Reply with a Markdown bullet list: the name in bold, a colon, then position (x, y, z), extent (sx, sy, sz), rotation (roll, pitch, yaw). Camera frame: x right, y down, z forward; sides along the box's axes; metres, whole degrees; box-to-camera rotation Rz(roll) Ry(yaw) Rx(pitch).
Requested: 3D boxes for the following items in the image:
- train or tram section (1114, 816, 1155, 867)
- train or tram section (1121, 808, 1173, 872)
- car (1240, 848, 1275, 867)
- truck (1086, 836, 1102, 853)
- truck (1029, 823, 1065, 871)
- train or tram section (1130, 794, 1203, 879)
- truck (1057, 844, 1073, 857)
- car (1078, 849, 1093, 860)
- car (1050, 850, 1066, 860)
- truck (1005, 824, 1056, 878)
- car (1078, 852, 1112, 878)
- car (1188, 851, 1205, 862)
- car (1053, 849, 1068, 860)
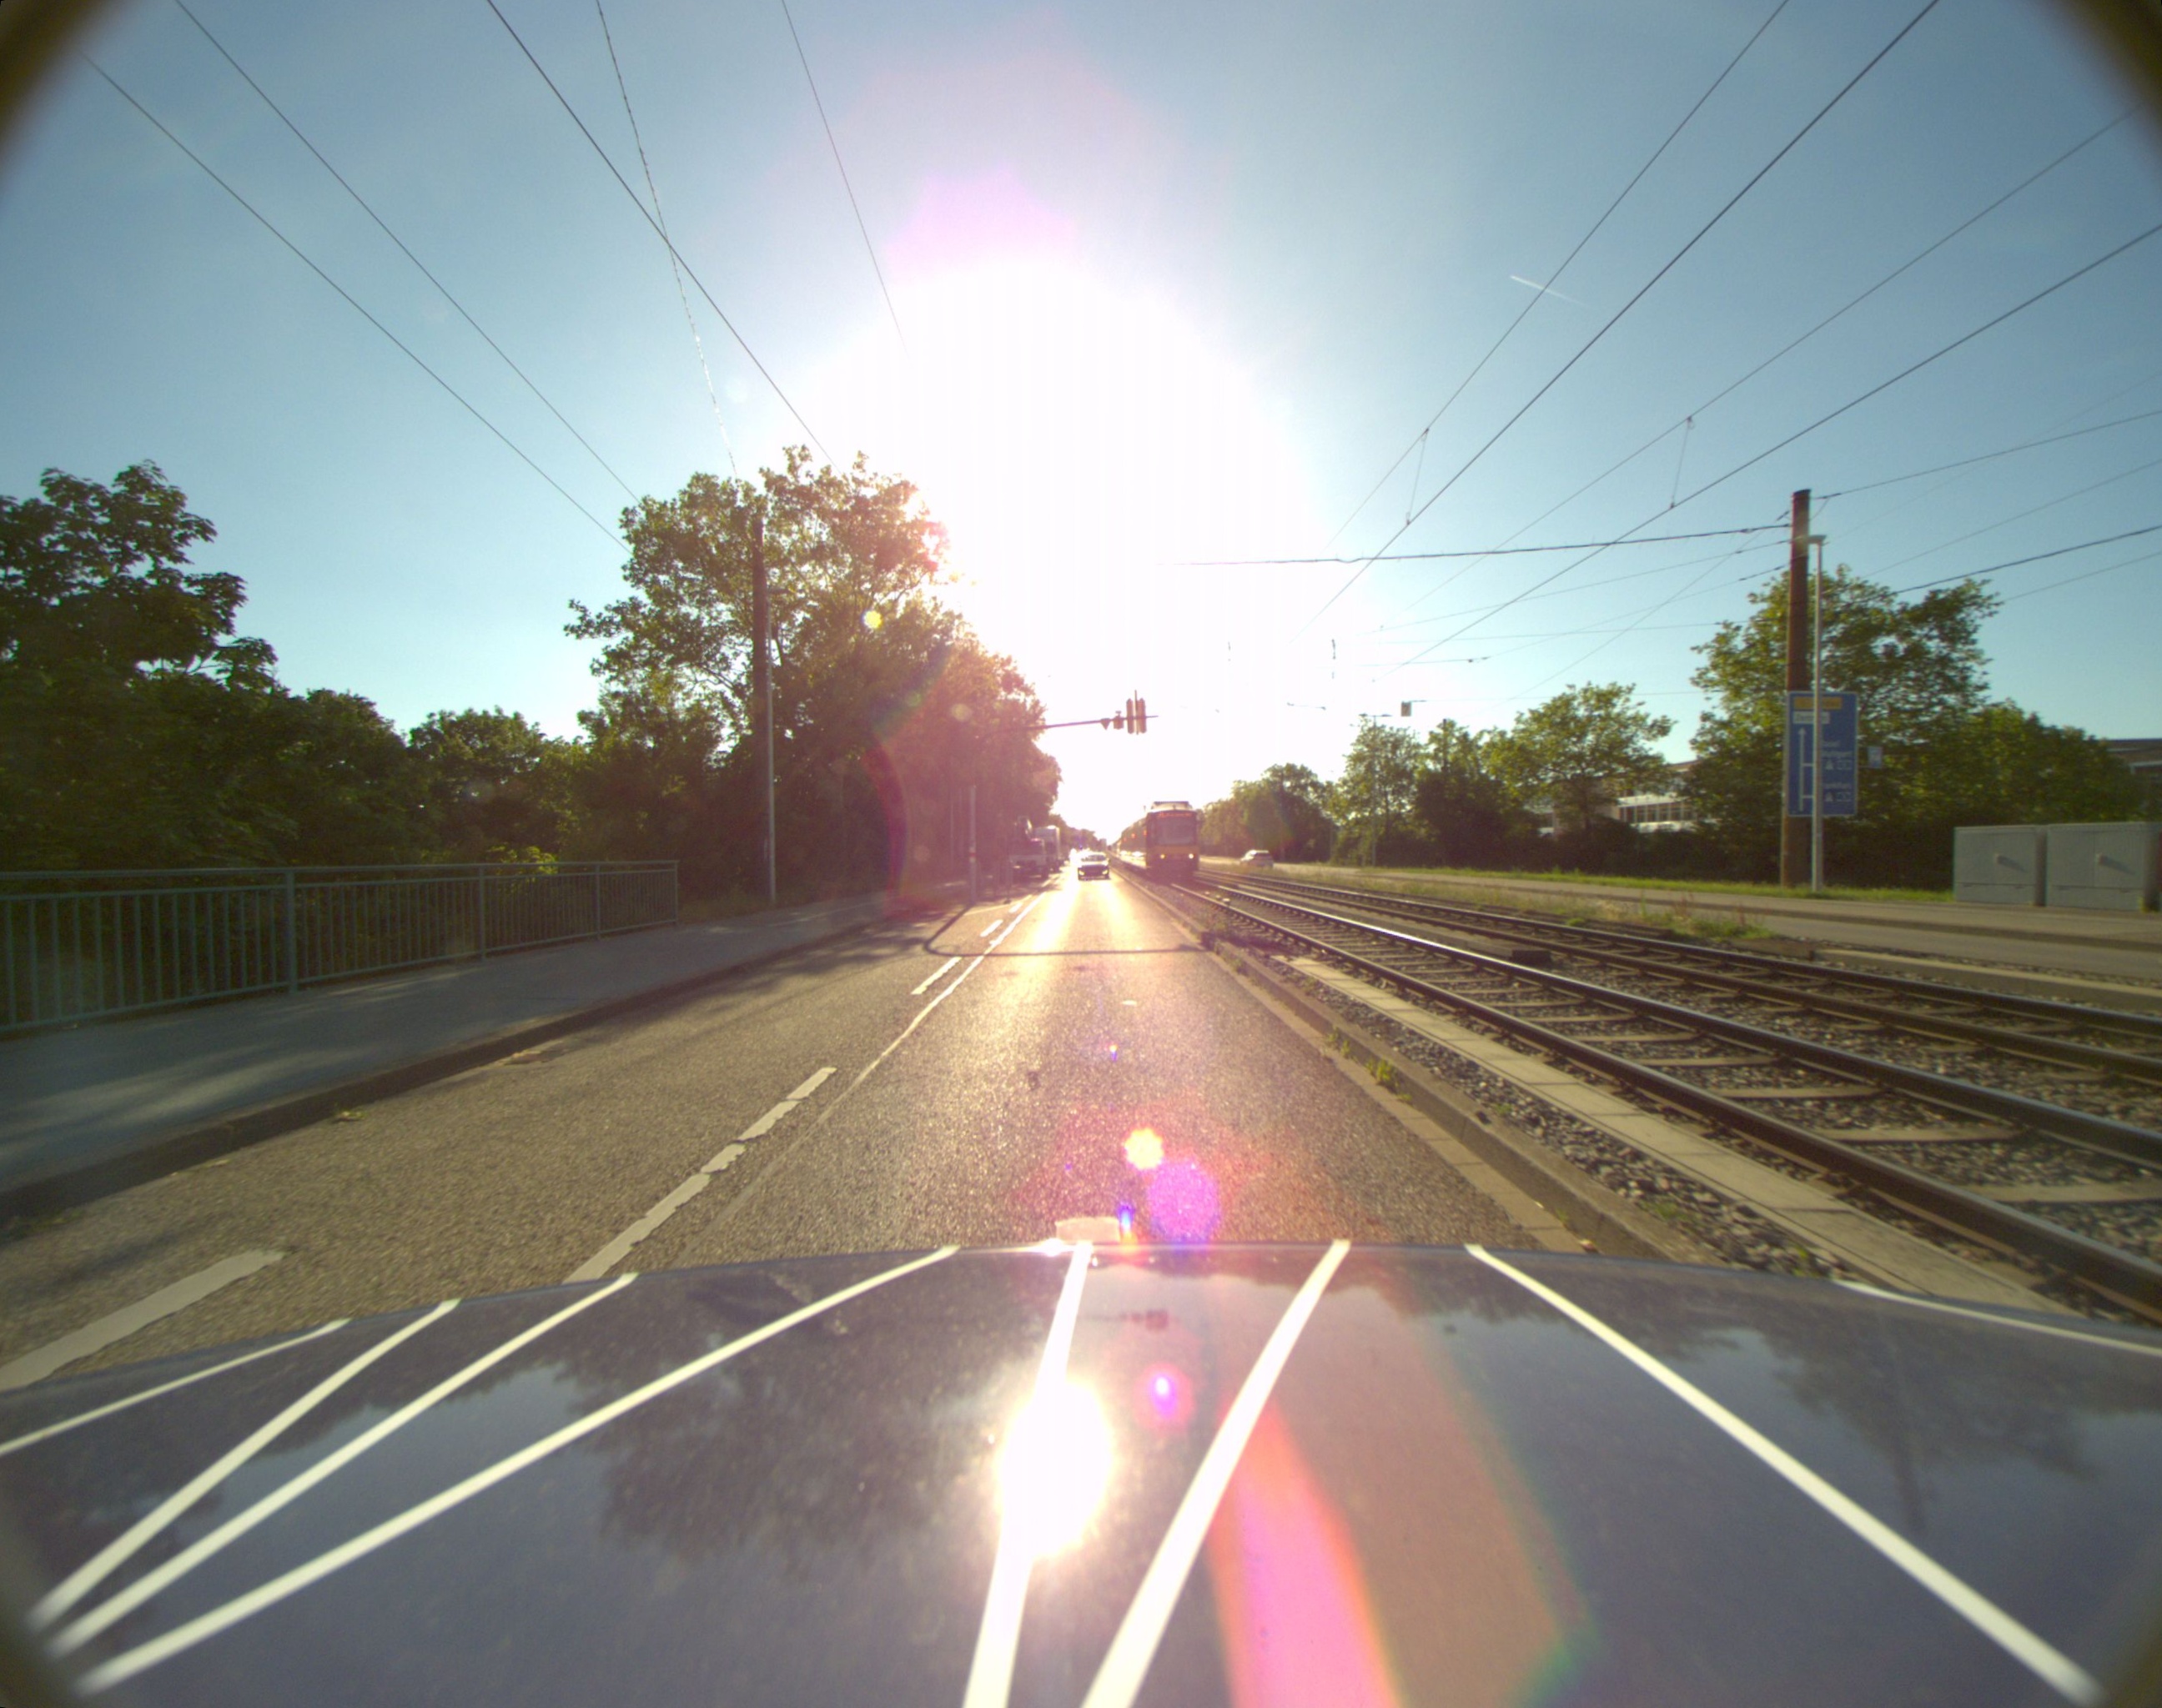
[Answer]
- **train or tram section**: position (4.373, -0.959, 64.163), extent (2.569, 3.878, 11.671), rotation (-1, 0, 0)
- **train or tram section**: position (4.354, -0.900, 52.497), extent (2.569, 3.878, 11.671), rotation (-1, 0, 0)
- **car**: position (13.603, 0.229, 58.719), extent (1.801, 1.345, 3.999), rotation (-2, 1, 1)
- **truck**: position (2.729, -1.985, 163.530), extent (3.314, 3.283, 15.321), rotation (-1, 0, 1)
- **truck**: position (-2.828, -0.605, 65.397), extent (2.559, 3.826, 7.870), rotation (-1, 0, 1)
- **train or tram section**: position (4.328, -0.835, 40.813), extent (2.569, 3.878, 11.671), rotation (-1, 0, 0)
- **truck**: position (-2.341, -0.547, 114.205), extent (2.097, 1.961, 6.027), rotation (0, 0, 1)
- **car**: position (0.620, 0.080, 97.713), extent (1.801, 1.345, 4.000), rotation (0, 0, 1)
- **car**: position (-2.940, 0.148, 98.222), extent (1.801, 1.345, 4.000), rotation (0, 0, 1)
- **truck**: position (-3.091, -0.195, 48.786), extent (2.610, 3.186, 7.870), rotation (-1, 0, 1)
- **car**: position (0.781, 0.563, 41.830), extent (1.801, 1.345, 4.000), rotation (0, 0, 1)
- **car**: position (15.665, 0.288, 103.341), extent (1.801, 1.345, 3.999), rotation (-2, 1, 1)
- **car**: position (-2.756, 0.069, 103.234), extent (1.801, 1.345, 4.000), rotation (0, 0, 1)
